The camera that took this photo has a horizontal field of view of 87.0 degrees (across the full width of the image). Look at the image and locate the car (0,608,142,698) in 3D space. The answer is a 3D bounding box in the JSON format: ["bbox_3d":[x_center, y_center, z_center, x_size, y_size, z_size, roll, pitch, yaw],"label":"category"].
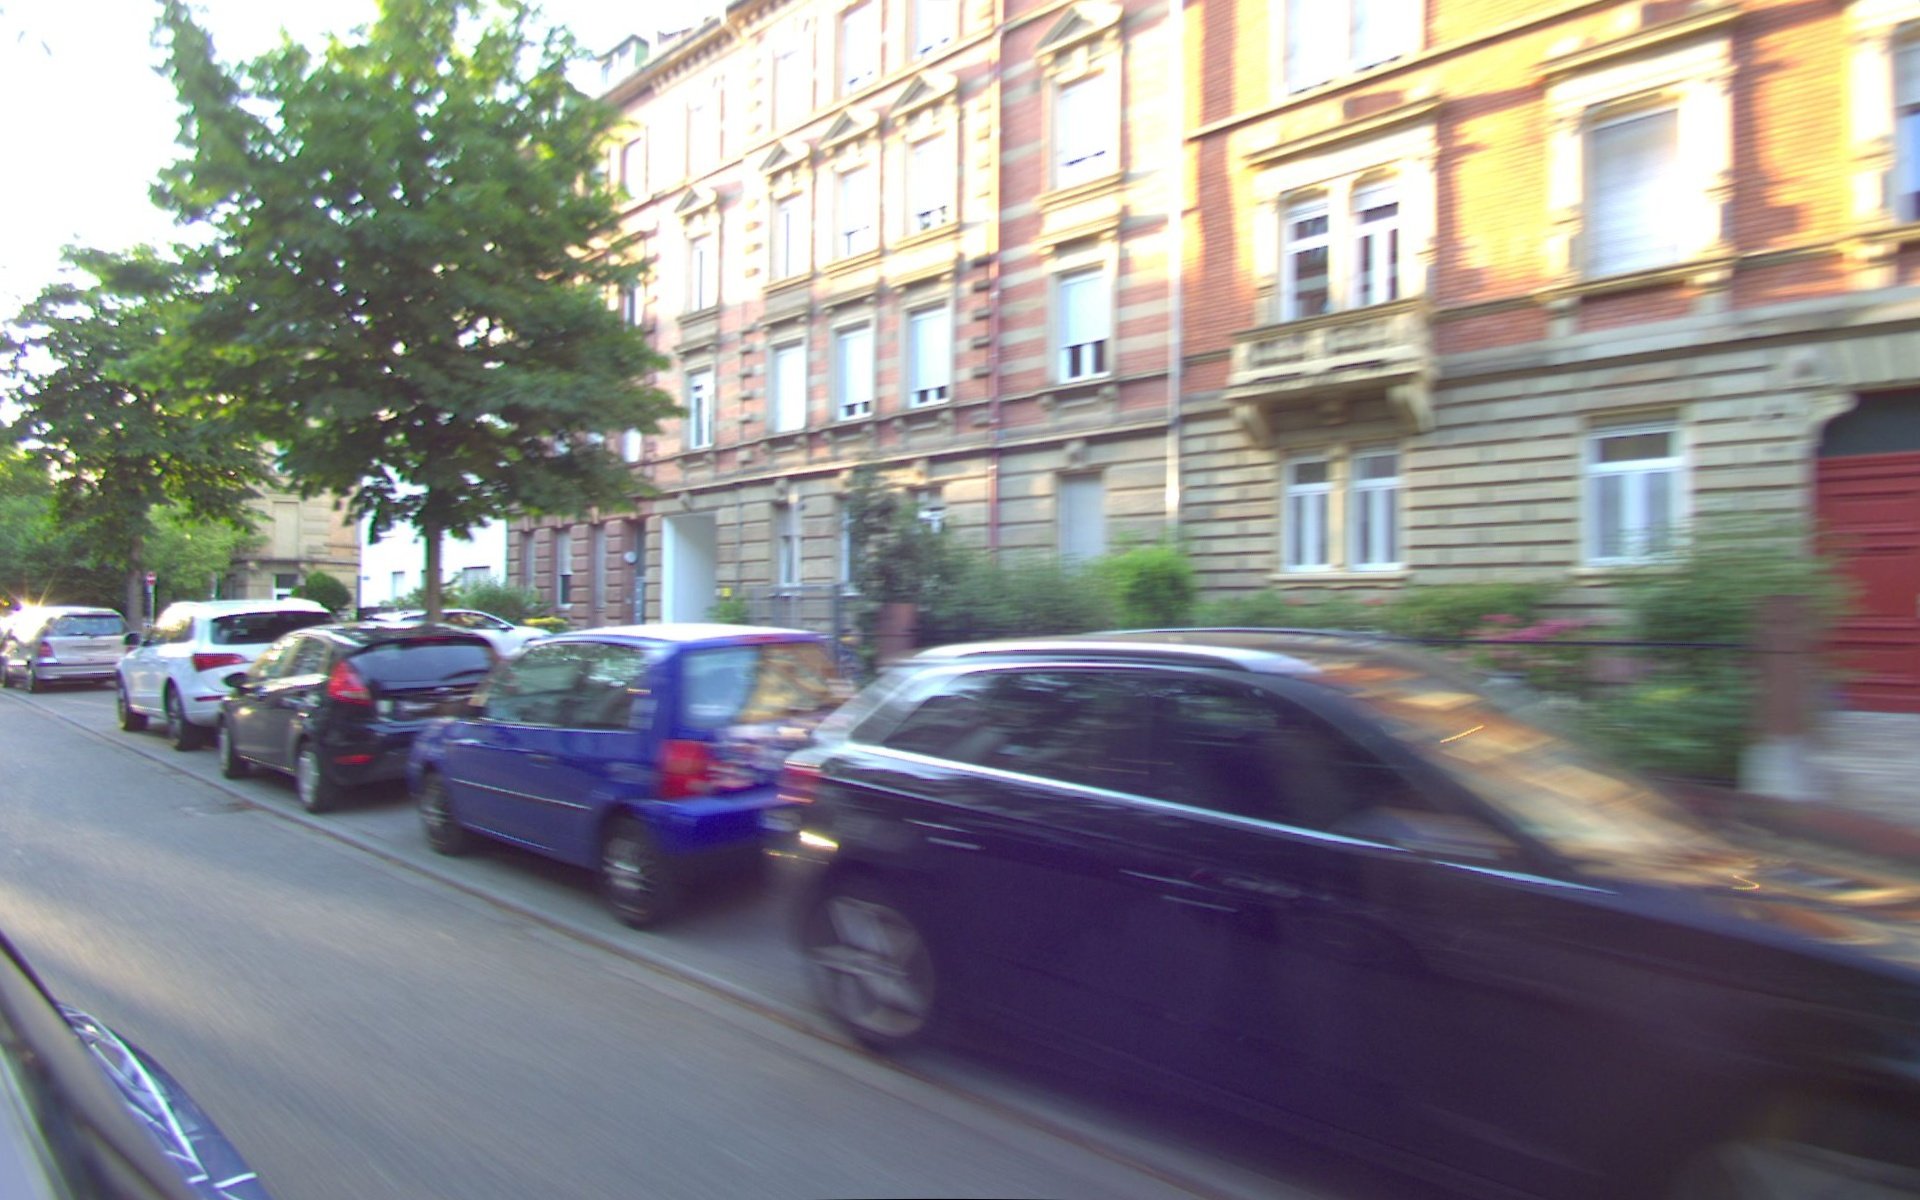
[{"bbox_3d":[-17.743,0.993,20.042,3.739,1.615,1.580,-1,-2,38],"label":"car"}]

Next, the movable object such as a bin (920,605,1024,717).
[{"bbox_3d":[0.180,0.803,13.747,1.000,1.425,1.090,-2,0,27],"label":"movable object such as a bin"}]

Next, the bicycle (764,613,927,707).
[{"bbox_3d":[-1.658,0.842,15.105,2.499,1.201,0.644,-2,0,-43],"label":"bicycle"}]

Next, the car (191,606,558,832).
[{"bbox_3d":[-5.320,0.856,9.012,3.779,1.578,1.698,0,-1,41],"label":"car"}]

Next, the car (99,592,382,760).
[{"bbox_3d":[-9.074,0.832,12.624,4.425,1.730,1.901,-1,-2,41],"label":"car"}]

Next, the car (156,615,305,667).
[{"bbox_3d":[-21.976,1.208,30.535,3.519,1.458,1.820,1,-2,-40],"label":"car"}]

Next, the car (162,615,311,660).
[{"bbox_3d":[-24.829,1.263,34.799,4.041,1.458,1.712,1,-2,-40],"label":"car"}]

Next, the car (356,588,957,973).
[{"bbox_3d":[-1.994,0.783,6.063,3.786,1.578,1.698,-1,-2,41],"label":"car"}]

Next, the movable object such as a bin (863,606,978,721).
[{"bbox_3d":[-0.494,0.767,12.708,1.001,1.331,1.006,-2,0,-44],"label":"movable object such as a bin"}]

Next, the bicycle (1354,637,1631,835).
[{"bbox_3d":[3.595,0.861,6.934,1.617,1.194,0.429,-1,-2,41],"label":"bicycle"}]

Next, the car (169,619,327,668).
[{"bbox_3d":[-22.805,1.365,32.471,4.040,1.458,1.821,1,-2,-39],"label":"car"}]

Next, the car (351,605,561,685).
[{"bbox_3d":[-11.695,0.975,23.695,1.707,1.539,4.052,-1,1,40],"label":"car"}]

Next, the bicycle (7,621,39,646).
[{"bbox_3d":[-48.652,1.734,52.583,0.597,1.294,2.493,2,-2,-29],"label":"bicycle"}]

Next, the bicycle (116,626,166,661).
[{"bbox_3d":[-29.239,1.539,36.130,1.860,1.190,0.336,1,-1,15],"label":"bicycle"}]

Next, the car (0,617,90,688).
[{"bbox_3d":[-21.158,1.142,23.096,3.962,1.482,1.598,-1,-2,44],"label":"car"}]

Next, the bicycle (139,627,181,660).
[{"bbox_3d":[-29.077,1.580,36.766,1.664,1.190,0.242,0,-1,15],"label":"bicycle"}]

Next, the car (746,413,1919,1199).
[{"bbox_3d":[1.329,0.618,3.060,4.213,1.804,1.698,-1,-2,41],"label":"car"}]

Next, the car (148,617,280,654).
[{"bbox_3d":[-33.105,1.585,45.050,1.703,1.564,4.419,-2,-3,31],"label":"car"}]

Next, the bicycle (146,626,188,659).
[{"bbox_3d":[-29.008,1.549,37.008,1.664,1.190,0.242,0,-1,15],"label":"bicycle"}]
